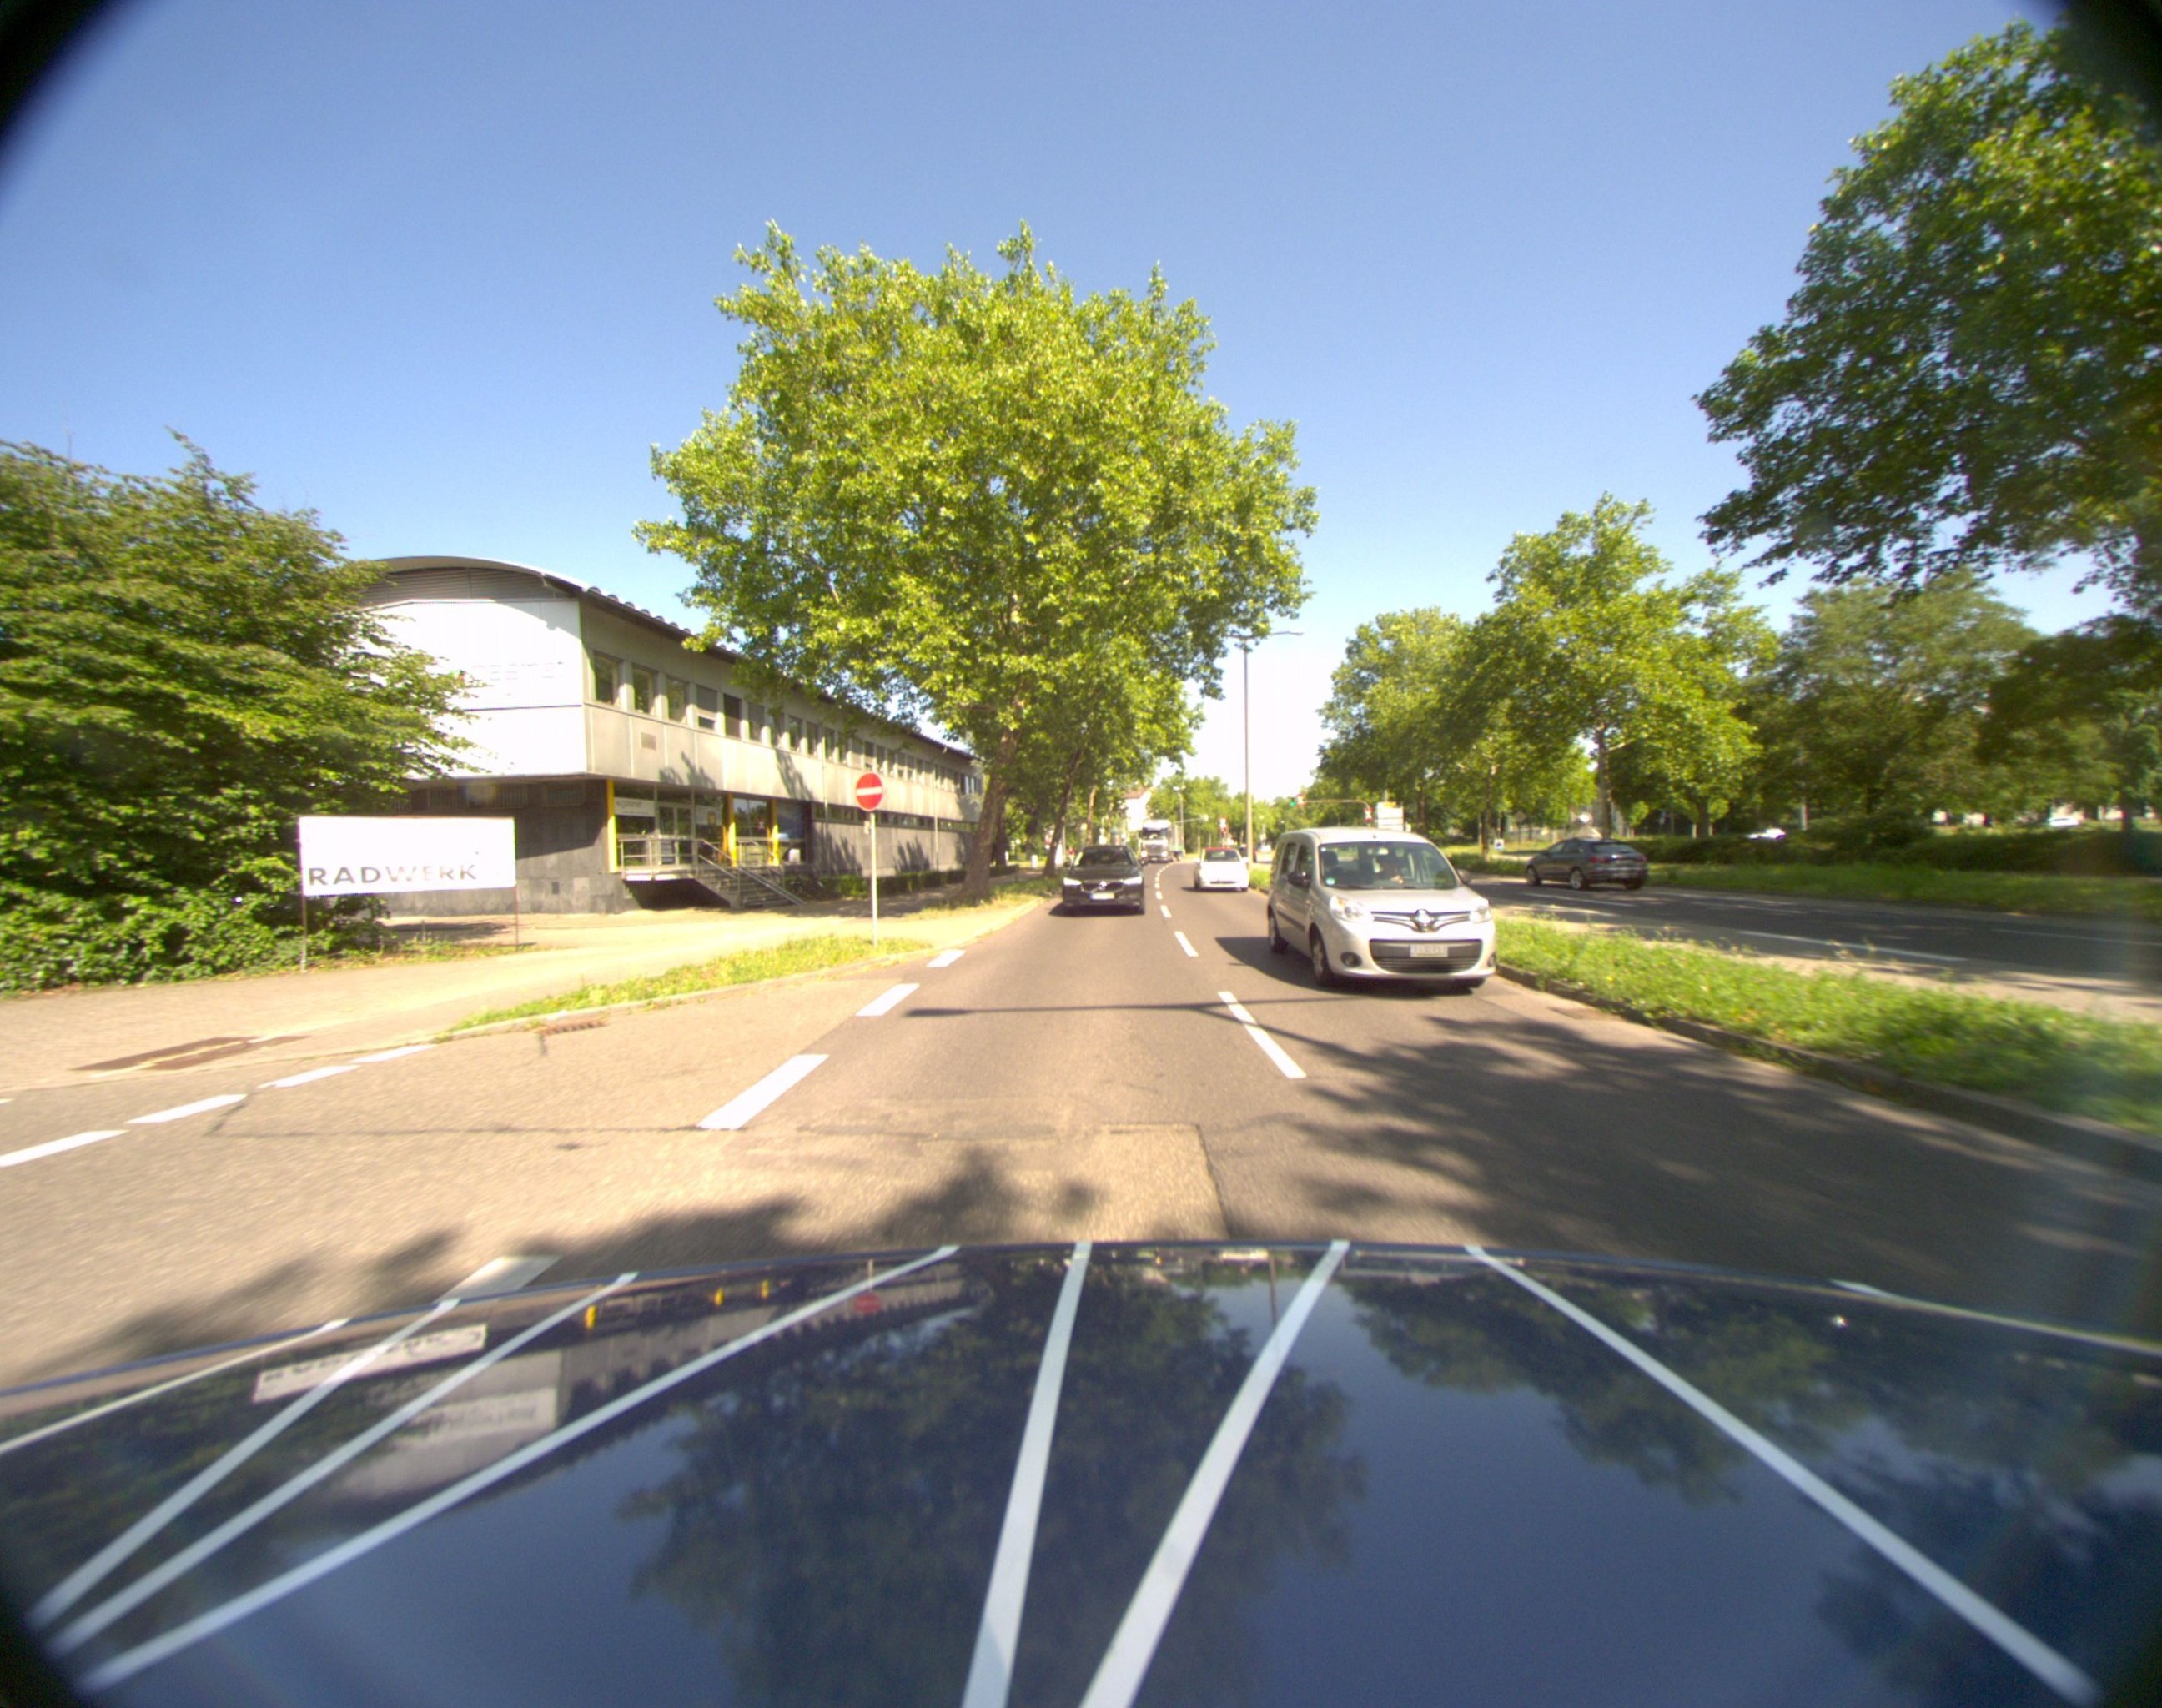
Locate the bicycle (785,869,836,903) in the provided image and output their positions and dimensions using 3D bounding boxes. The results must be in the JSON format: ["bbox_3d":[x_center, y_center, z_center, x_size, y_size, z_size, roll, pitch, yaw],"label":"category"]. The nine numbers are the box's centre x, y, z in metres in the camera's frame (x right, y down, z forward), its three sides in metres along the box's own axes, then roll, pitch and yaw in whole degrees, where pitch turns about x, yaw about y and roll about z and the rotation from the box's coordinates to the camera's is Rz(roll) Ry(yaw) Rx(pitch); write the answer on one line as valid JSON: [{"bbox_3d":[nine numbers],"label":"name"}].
[{"bbox_3d":[-9.556,1.122,26.831,1.672,1.124,0.509,0,2,17],"label":"bicycle"}]

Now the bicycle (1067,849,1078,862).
[{"bbox_3d":[-0.778,0.109,71.088,0.692,1.179,2.126,-2,1,8],"label":"bicycle"}]

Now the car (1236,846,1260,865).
[{"bbox_3d":[14.607,0.083,66.319,1.696,1.499,4.133,-2,1,16],"label":"car"}]

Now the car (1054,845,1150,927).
[{"bbox_3d":[0.480,0.624,17.789,1.904,1.606,4.872,-2,1,1],"label":"car"}]

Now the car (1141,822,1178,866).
[{"bbox_3d":[7.445,-0.974,71.245,2.901,3.898,7.145,-1,1,9],"label":"car"}]

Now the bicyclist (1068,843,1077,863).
[{"bbox_3d":[-0.782,-0.088,71.161,0.702,1.777,0.810,-2,1,7],"label":"bicyclist"}]

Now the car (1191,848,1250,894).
[{"bbox_3d":[4.886,0.547,27.050,1.688,1.482,4.377,0,1,6],"label":"car"}]

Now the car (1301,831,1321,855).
[{"bbox_3d":[26.758,-1.321,88.337,2.063,2.599,7.225,0,2,18],"label":"car"}]

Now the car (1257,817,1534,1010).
[{"bbox_3d":[3.508,0.548,9.464,1.876,1.829,4.376,0,0,4],"label":"car"}]

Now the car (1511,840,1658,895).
[{"bbox_3d":[15.849,0.347,24.258,1.799,1.547,4.394,-1,1,0],"label":"car"}]
